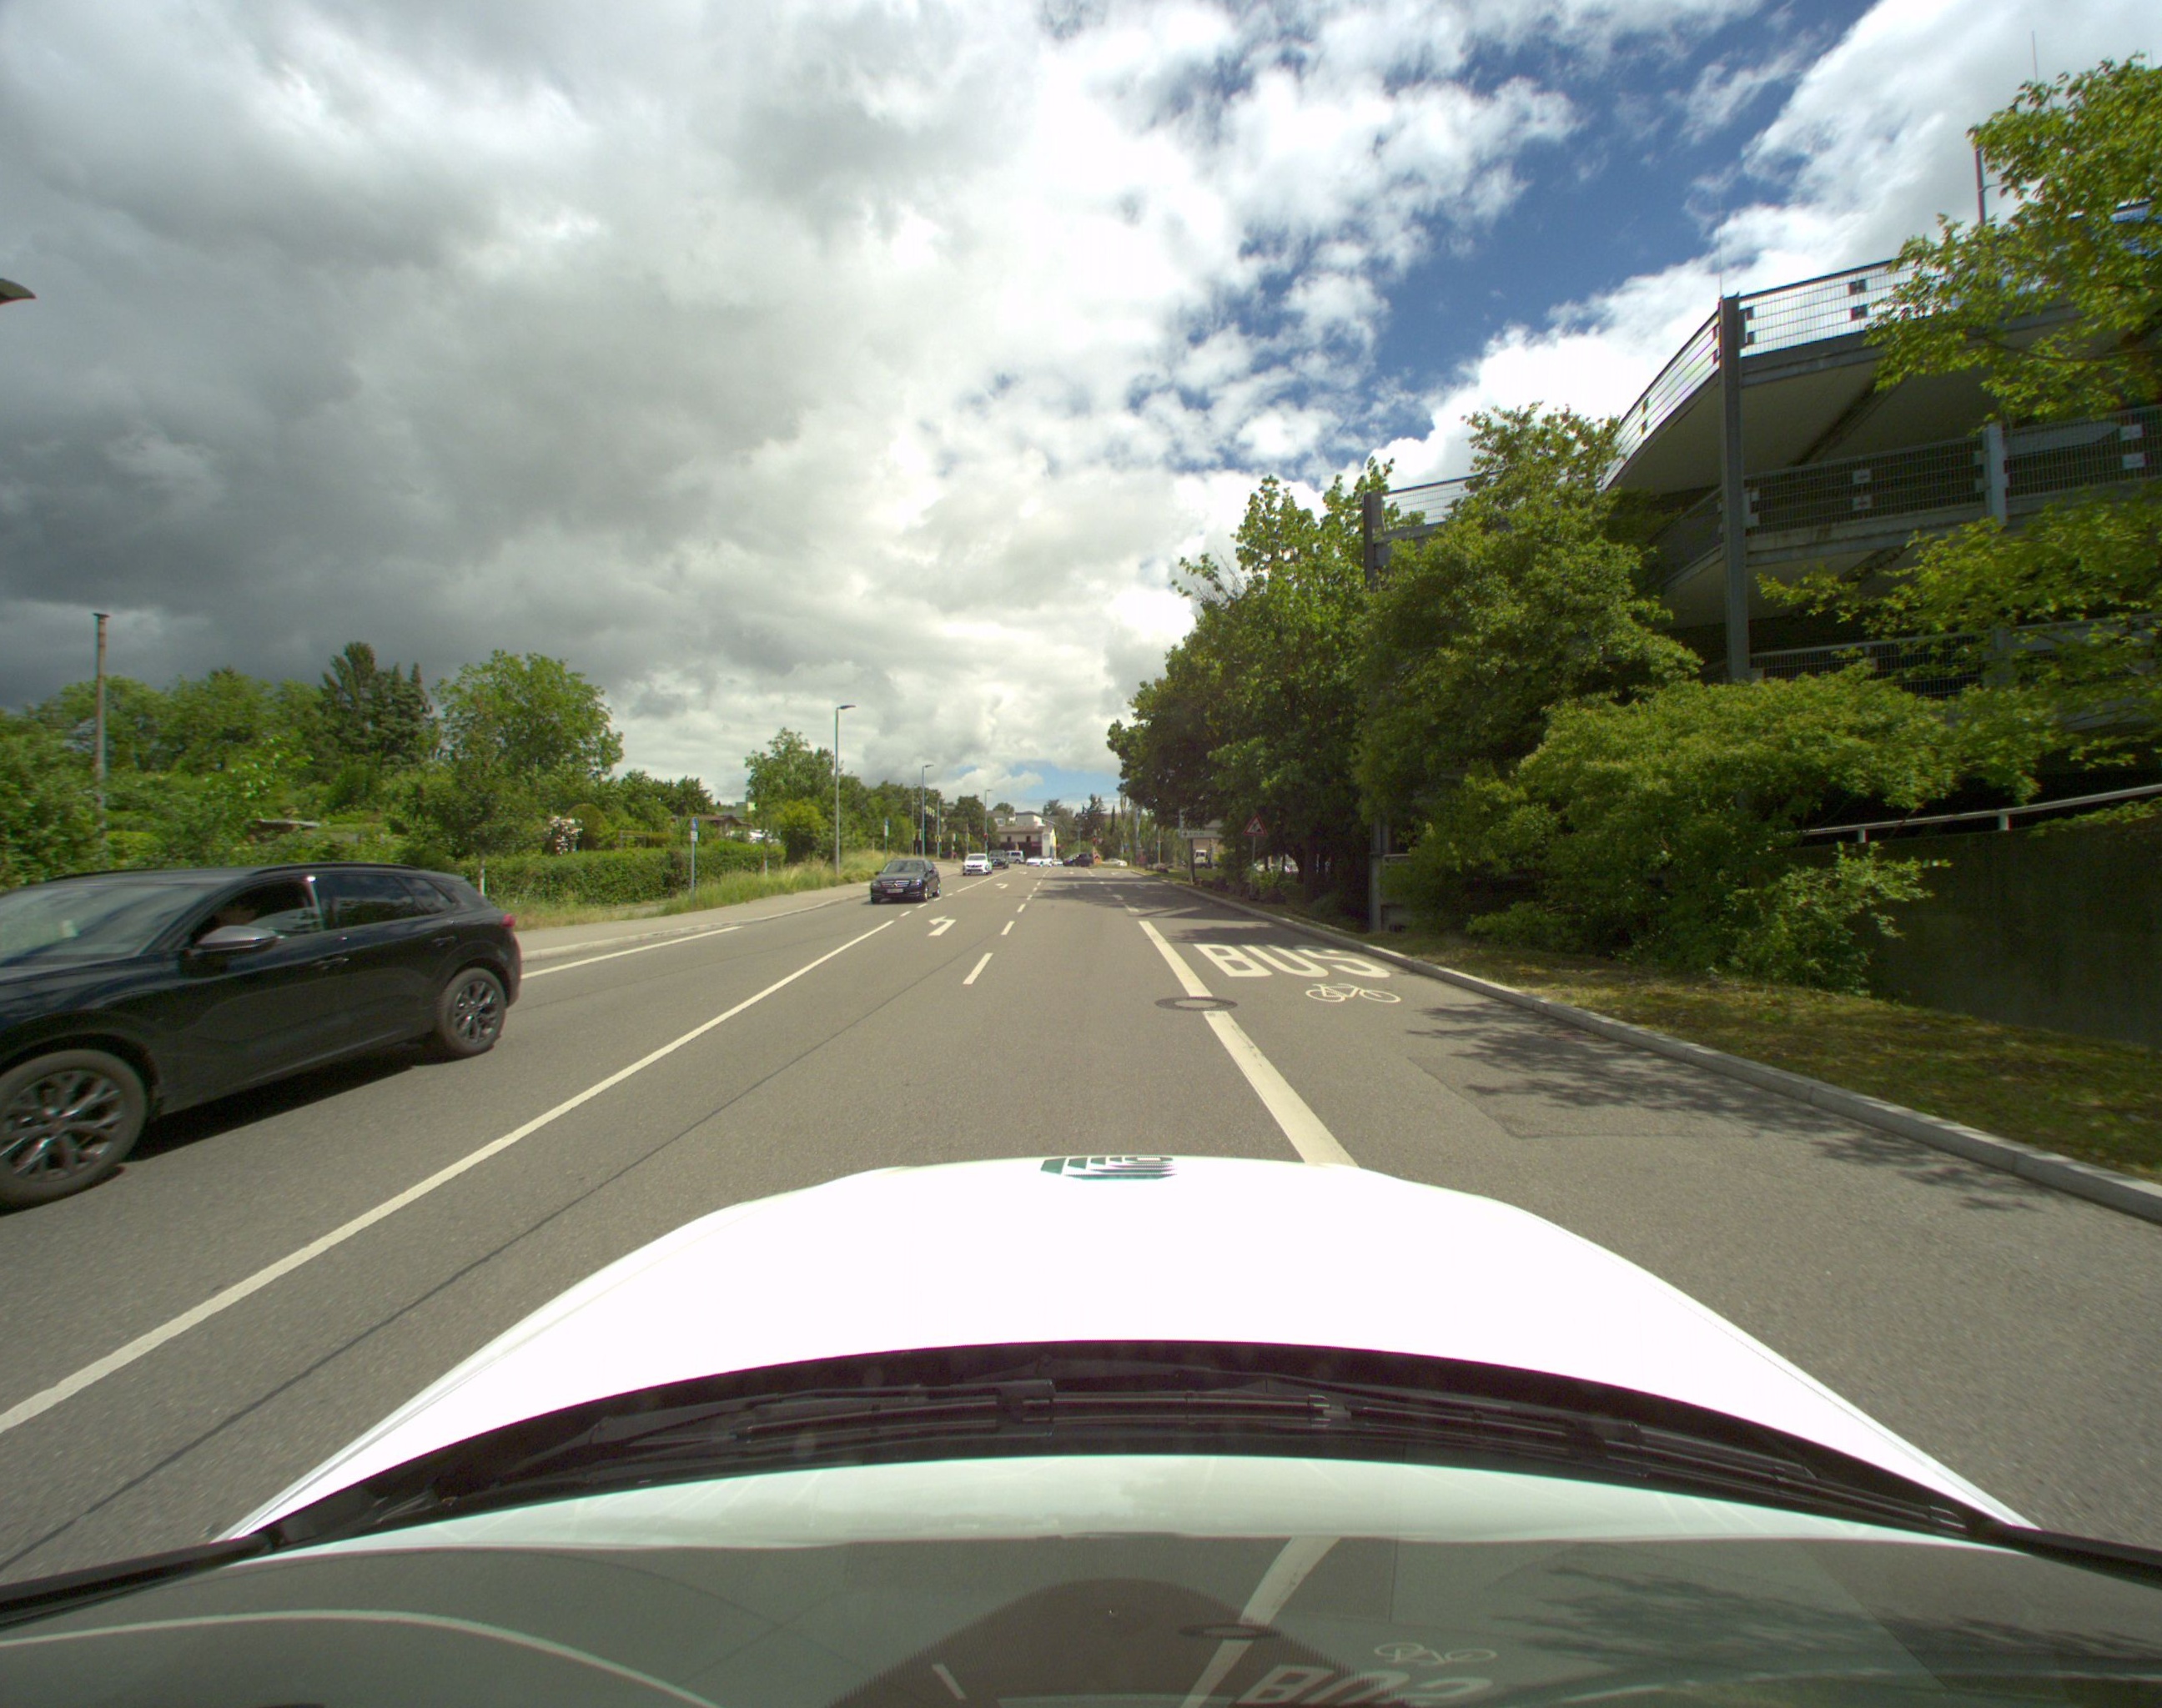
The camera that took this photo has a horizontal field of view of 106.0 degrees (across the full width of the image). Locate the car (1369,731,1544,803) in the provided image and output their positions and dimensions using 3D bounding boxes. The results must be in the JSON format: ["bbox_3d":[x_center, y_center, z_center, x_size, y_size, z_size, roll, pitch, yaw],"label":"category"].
[{"bbox_3d":[8.946,-2.034,19.609,3.658,1.411,1.669,-1,1,24],"label":"car"}]

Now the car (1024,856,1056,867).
[{"bbox_3d":[-4.806,0.873,96.102,1.888,1.291,4.634,-1,-1,22],"label":"car"}]

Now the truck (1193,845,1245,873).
[{"bbox_3d":[19.432,0.720,114.847,6.916,3.579,2.848,-2,-2,2],"label":"truck"}]

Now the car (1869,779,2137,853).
[{"bbox_3d":[21.748,-0.835,19.437,3.810,1.486,1.763,-2,-1,23],"label":"car"}]

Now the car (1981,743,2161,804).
[{"bbox_3d":[28.381,-2.238,22.880,3.666,1.325,1.844,-3,-2,25],"label":"car"}]

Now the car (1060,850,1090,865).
[{"bbox_3d":[-0.739,0.460,103.631,1.768,1.779,4.838,-1,-3,26],"label":"car"}]

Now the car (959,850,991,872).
[{"bbox_3d":[-7.152,0.479,55.221,1.761,1.442,3.897,-2,0,-2],"label":"car"}]

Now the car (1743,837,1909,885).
[{"bbox_3d":[25.428,0.255,27.968,3.810,1.486,1.704,-2,-1,23],"label":"car"}]

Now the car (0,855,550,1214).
[{"bbox_3d":[-5.728,0.832,5.111,1.818,1.557,4.625,-2,0,-2],"label":"car"}]

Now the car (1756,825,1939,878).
[{"bbox_3d":[24.003,-0.052,25.684,3.810,1.486,1.704,-2,-1,23],"label":"car"}]

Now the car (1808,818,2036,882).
[{"bbox_3d":[22.109,-0.071,21.614,3.810,1.486,1.704,-2,-1,23],"label":"car"}]

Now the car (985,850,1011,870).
[{"bbox_3d":[-7.363,0.538,72.605,1.815,1.654,4.531,-1,0,0],"label":"car"}]

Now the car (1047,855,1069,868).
[{"bbox_3d":[-3.790,1.200,132.242,1.912,1.860,3.771,-1,-2,-32],"label":"car"}]

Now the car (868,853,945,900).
[{"bbox_3d":[-5.838,0.720,27.721,1.761,1.442,4.373,-2,0,-2],"label":"car"}]

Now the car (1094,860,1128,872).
[{"bbox_3d":[4.451,1.750,120.304,4.751,1.779,1.801,-1,-3,25],"label":"car"}]

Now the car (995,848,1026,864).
[{"bbox_3d":[-9.772,0.290,112.762,3.972,2.014,2.000,-2,-2,1],"label":"car"}]
